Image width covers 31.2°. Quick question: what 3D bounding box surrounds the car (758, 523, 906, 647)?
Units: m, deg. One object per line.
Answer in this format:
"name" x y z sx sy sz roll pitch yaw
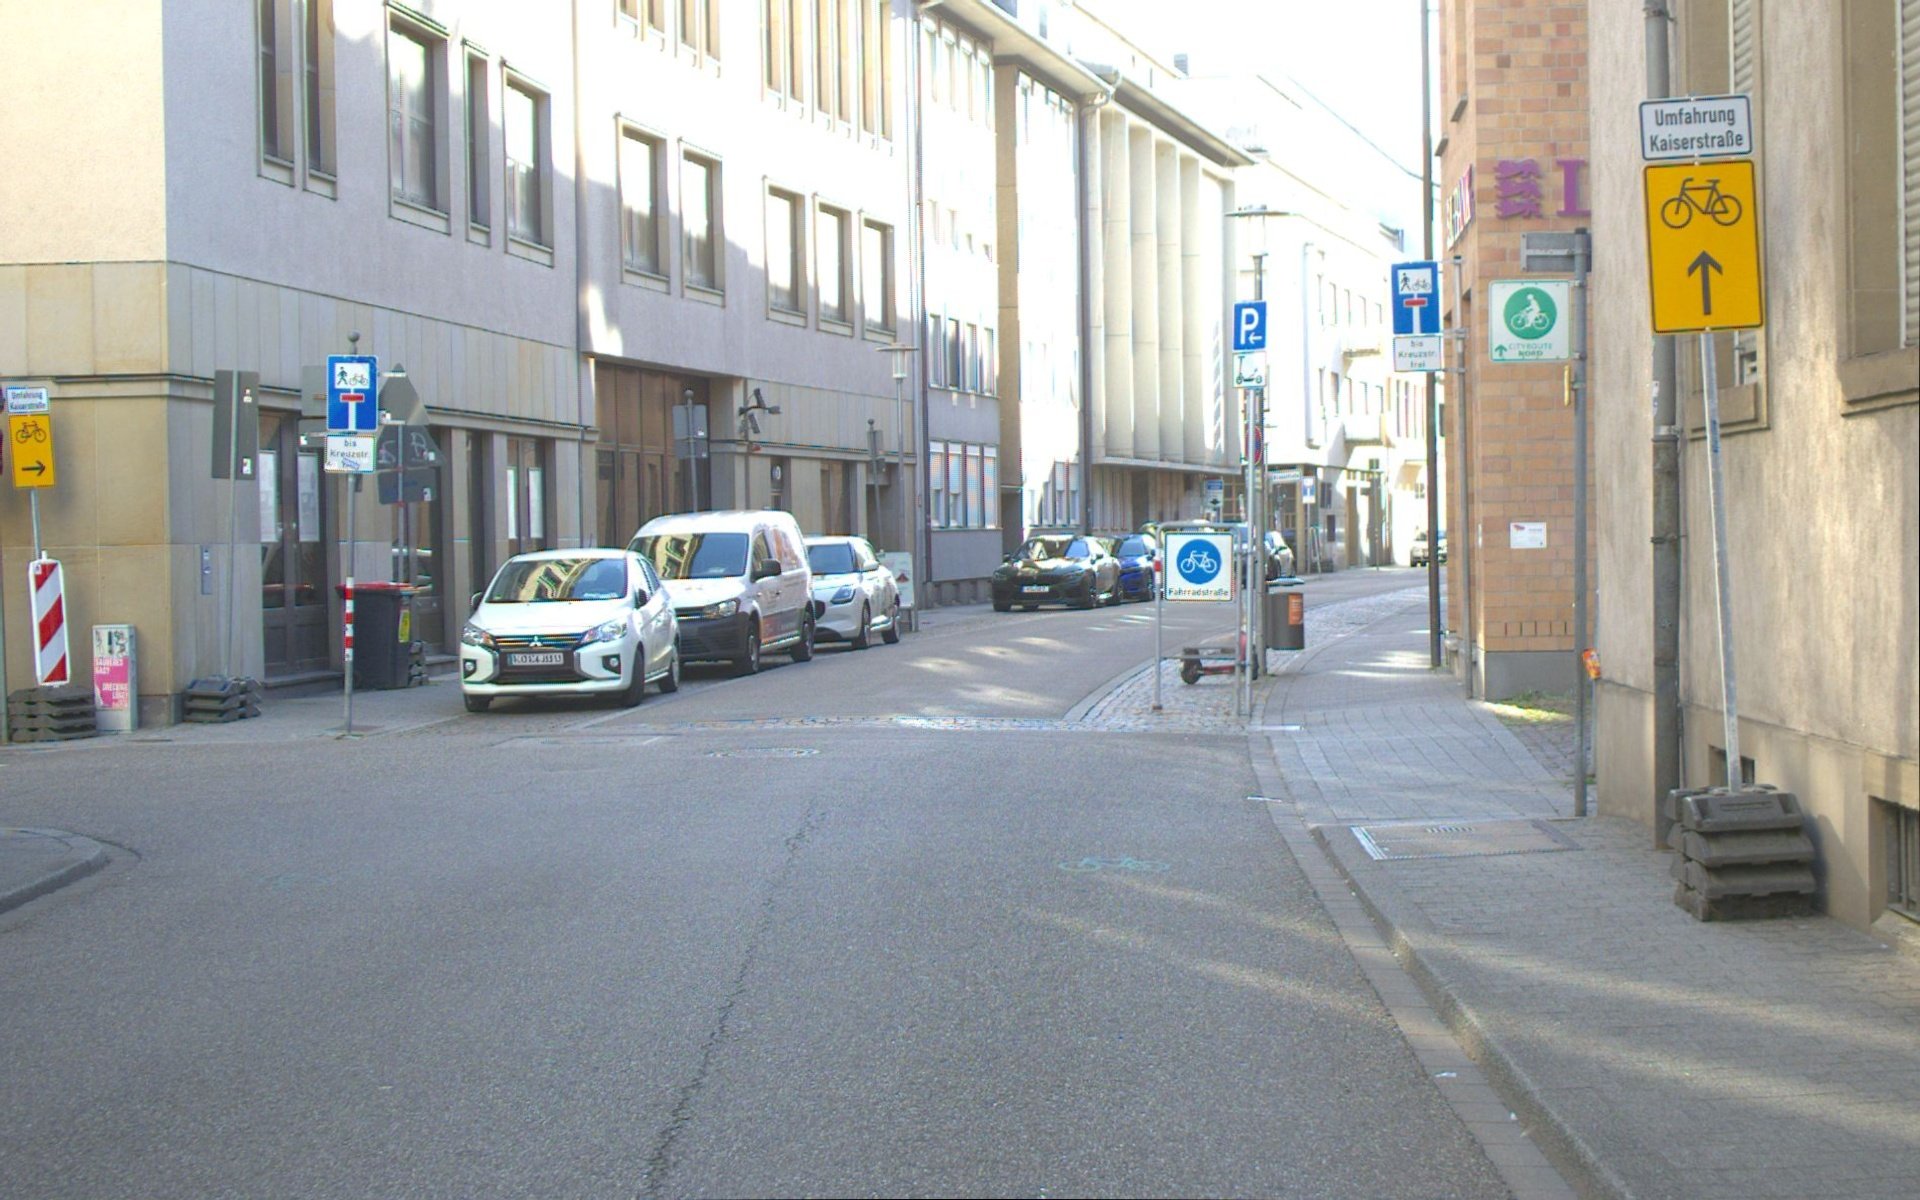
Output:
"car" -1.643 -0.224 45.093 1.271 1.501 3.401 -2 1 9

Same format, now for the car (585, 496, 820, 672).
"car" -2.843 -0.234 38.955 1.671 1.812 4.551 -2 1 8

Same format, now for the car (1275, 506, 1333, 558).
"car" 10.208 -2.030 101.852 1.339 1.489 3.345 -1 1 12

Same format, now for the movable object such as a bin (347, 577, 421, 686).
"movable object such as a bin" -5.756 0.306 34.381 0.608 1.057 0.713 2 1 -1

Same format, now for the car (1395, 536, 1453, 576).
"car" 17.080 -1.630 126.442 1.690 1.365 3.616 -1 1 14

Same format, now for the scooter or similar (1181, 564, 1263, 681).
"scooter or similar" 2.607 0.221 34.193 0.771 1.132 0.269 2 1 5

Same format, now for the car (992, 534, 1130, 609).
"car" 1.956 -0.559 65.452 1.882 1.327 4.098 -1 1 12

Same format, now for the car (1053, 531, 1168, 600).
"car" 3.169 -0.733 71.851 1.725 1.336 3.998 -1 1 12

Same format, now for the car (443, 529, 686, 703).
"car" -3.748 0.105 33.131 1.670 1.501 3.794 -2 1 3
